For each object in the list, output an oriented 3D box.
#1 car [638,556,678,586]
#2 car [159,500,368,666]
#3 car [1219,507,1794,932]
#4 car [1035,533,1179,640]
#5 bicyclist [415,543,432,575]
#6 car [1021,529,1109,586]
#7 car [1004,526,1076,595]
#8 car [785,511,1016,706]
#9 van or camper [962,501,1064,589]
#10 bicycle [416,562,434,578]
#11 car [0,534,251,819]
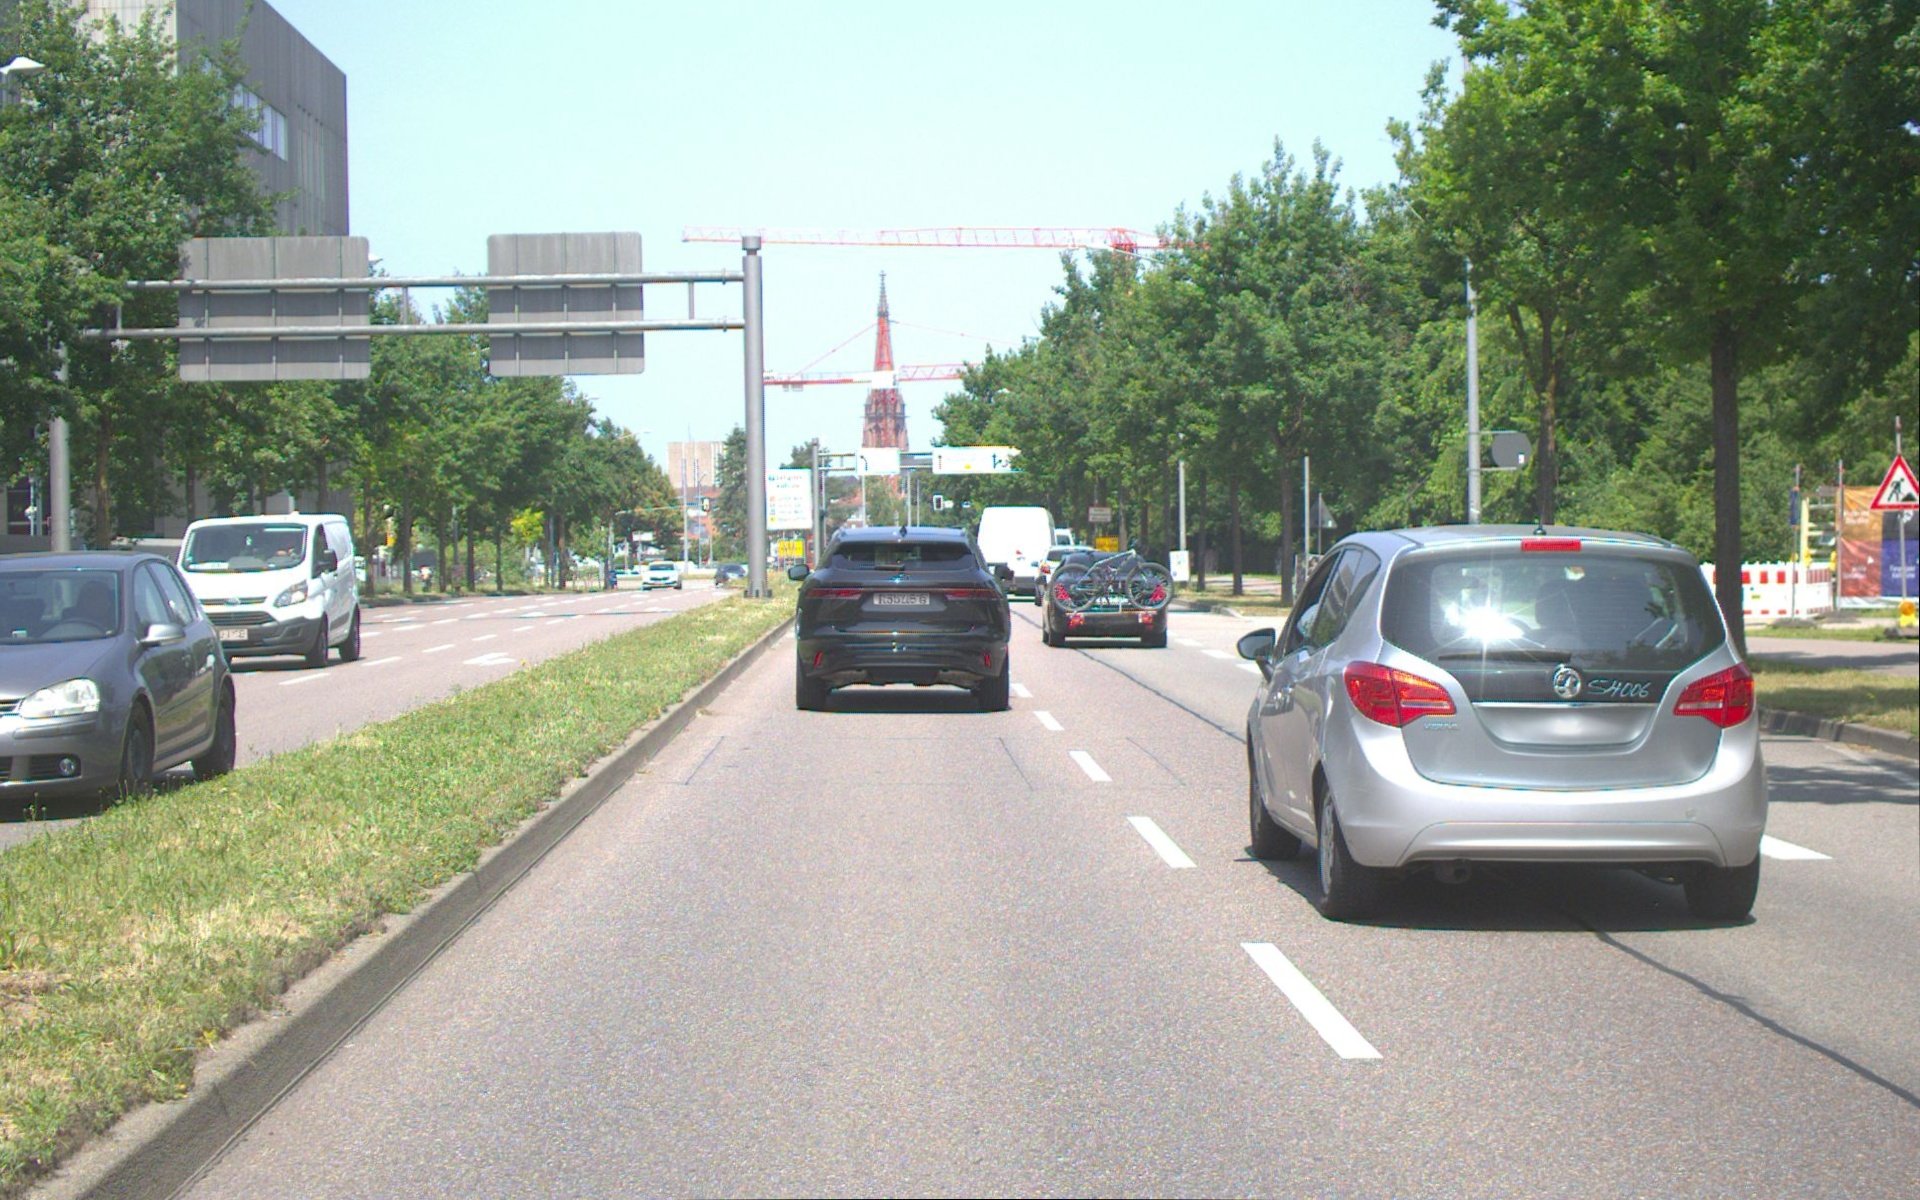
[{"bbox_3d":[-15.151,-1.481,172.449,1.810,1.422,4.359,-2,1,-3],"label":"car"},{"bbox_3d":[-8.995,-0.251,44.800,1.909,1.986,4.898,-2,1,-3],"label":"car"},{"bbox_3d":[2.221,0.416,14.983,1.792,1.606,3.891,0,1,-1],"label":"car"},{"bbox_3d":[2.163,-0.215,51.605,2.014,1.512,4.460,-1,0,1],"label":"car"},{"bbox_3d":[-25.234,-1.942,161.712,0.623,1.484,0.757,-1,0,2],"label":"bicyclist"},{"bbox_3d":[2.579,-1.040,85.116,1.654,1.351,4.461,-1,0,-5],"label":"car"},{"bbox_3d":[2.366,-1.193,102.764,1.993,2.007,4.000,-1,1,0],"label":"car"},{"bbox_3d":[-0.507,0.044,31.952,1.998,1.684,4.034,0,1,0],"label":"car"},{"bbox_3d":[1.396,-1.457,92.920,2.493,2.283,4.921,-1,0,-2],"label":"van or camper"},{"bbox_3d":[-25.210,-1.410,162.004,0.481,0.713,1.850,-1,0,2],"label":"bicycle"},{"bbox_3d":[-5.388,0.383,19.851,1.810,1.461,4.058,-2,1,-2],"label":"car"}]
